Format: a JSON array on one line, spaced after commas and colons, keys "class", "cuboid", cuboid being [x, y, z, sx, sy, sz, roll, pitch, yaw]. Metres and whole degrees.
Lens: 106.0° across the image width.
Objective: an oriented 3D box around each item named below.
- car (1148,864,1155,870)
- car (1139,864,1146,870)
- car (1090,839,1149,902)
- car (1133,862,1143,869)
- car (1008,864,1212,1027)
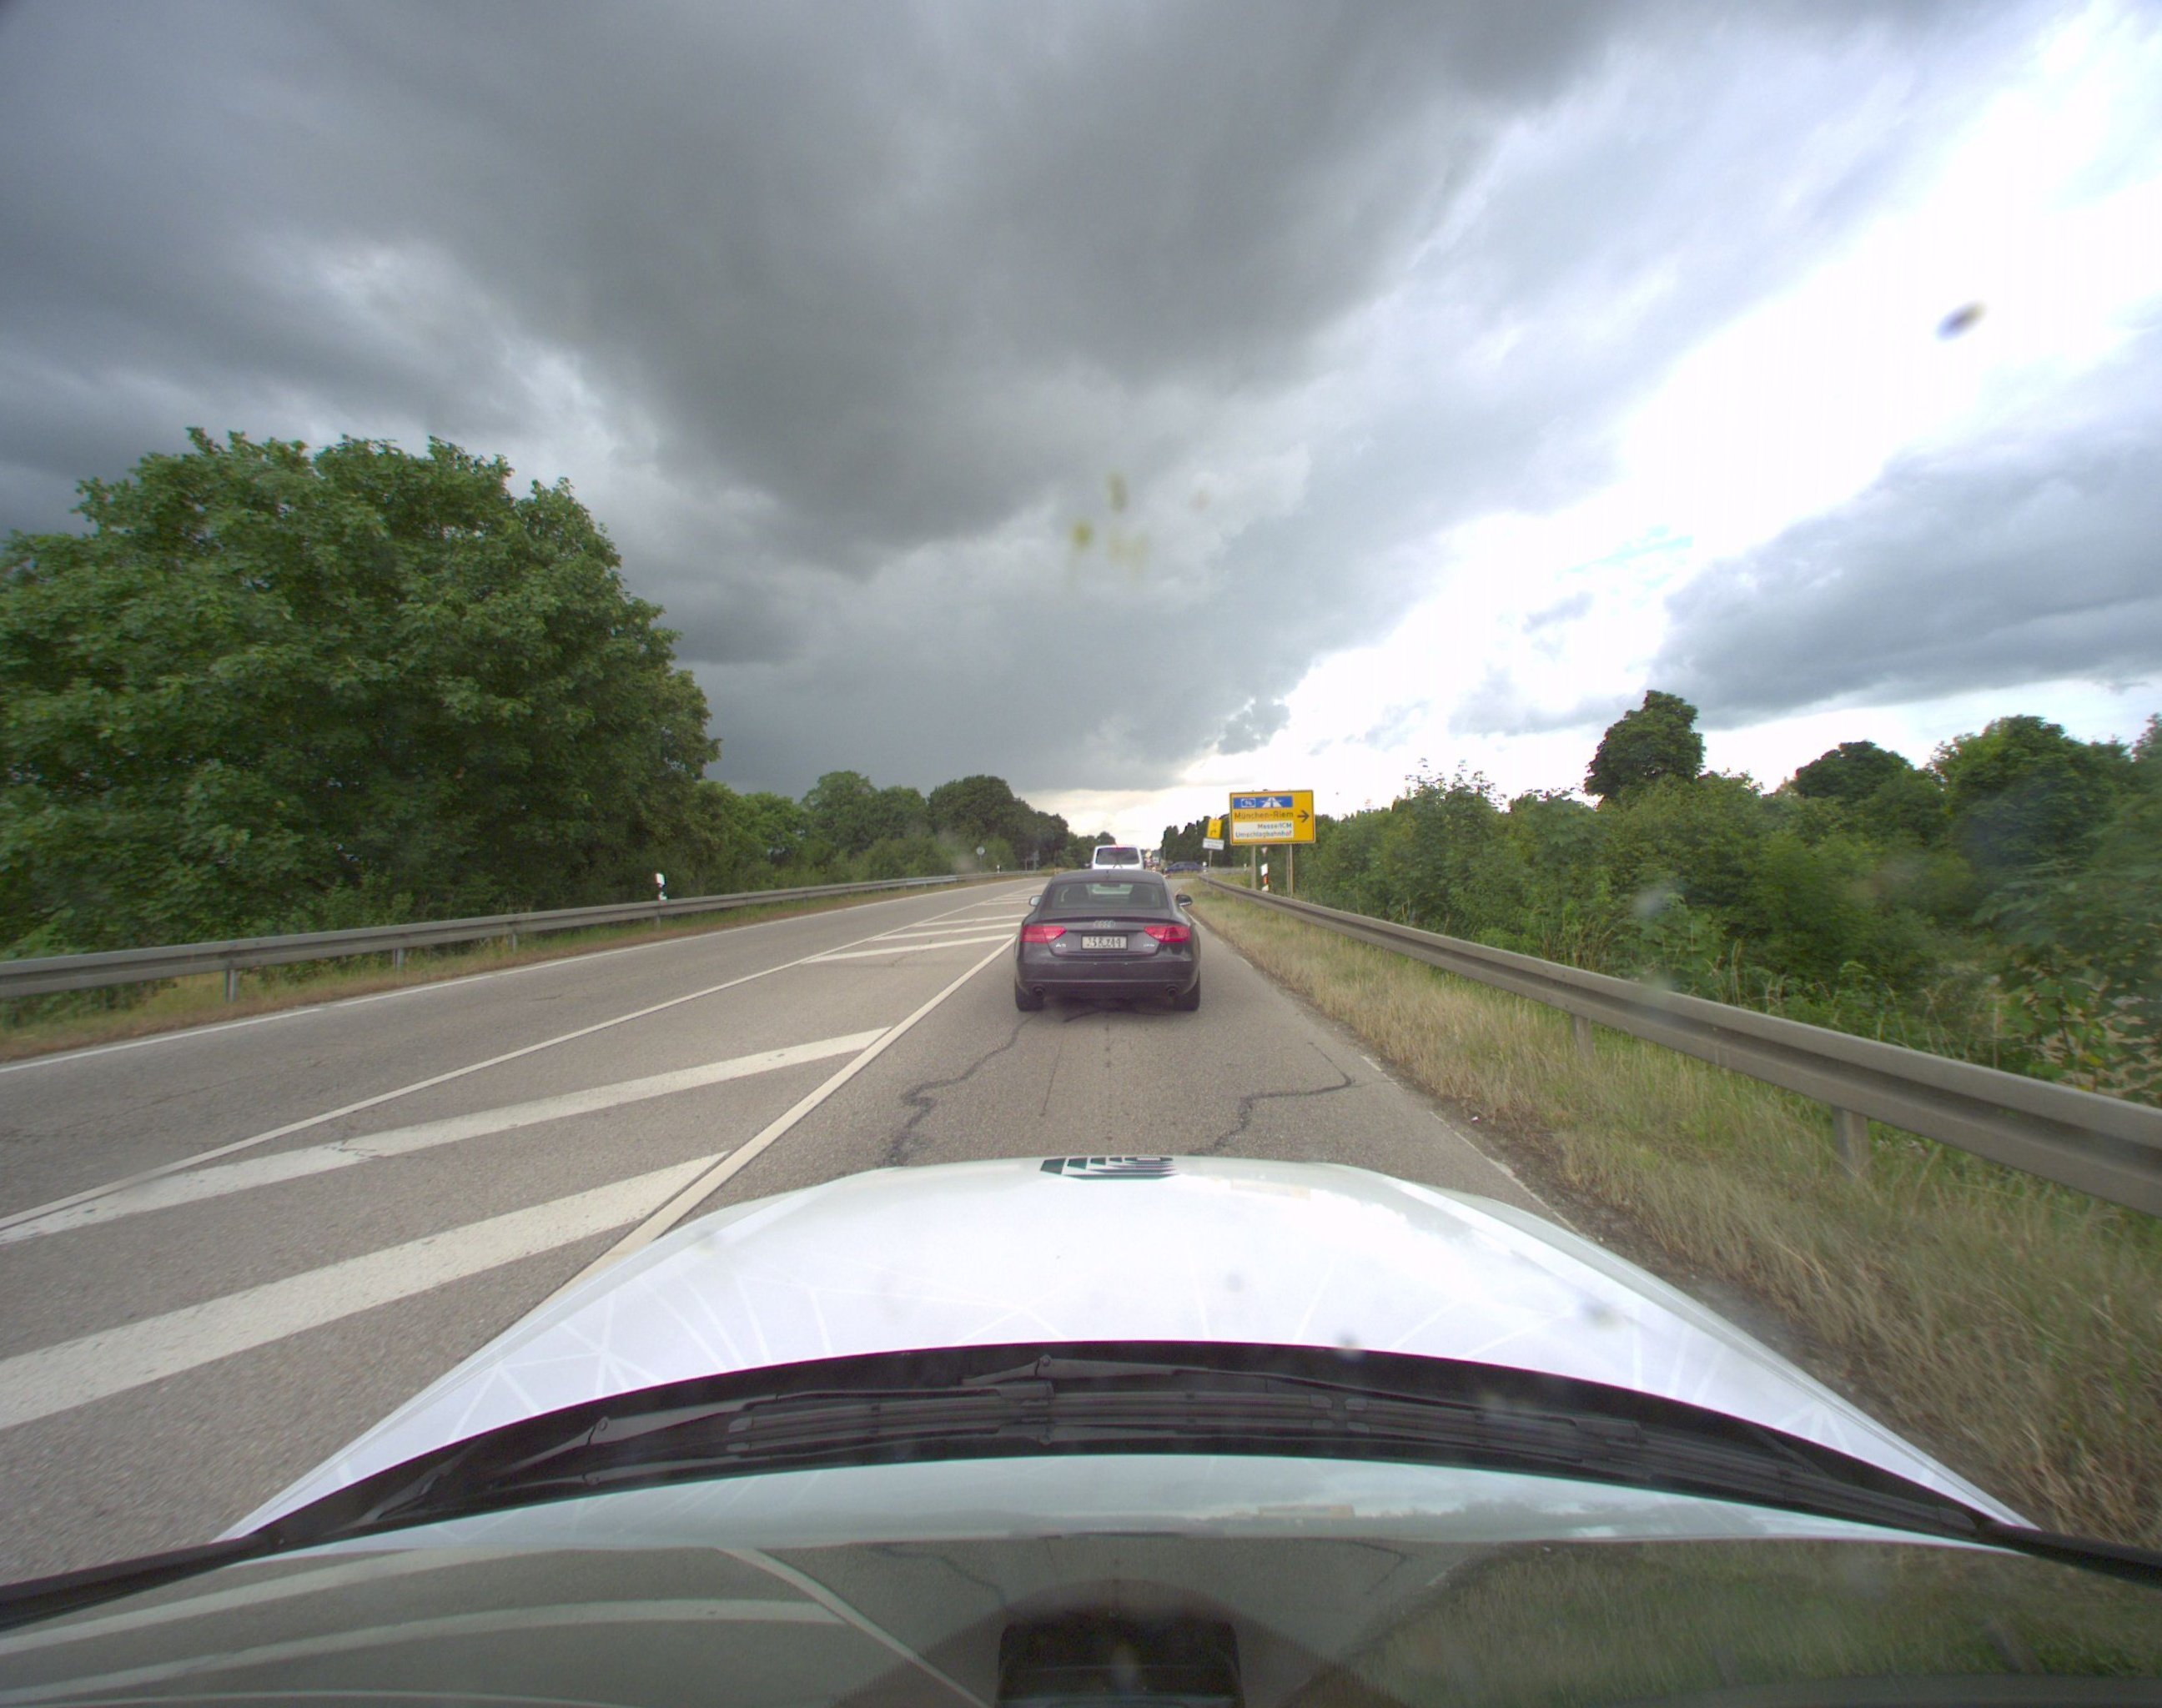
[{"class": "car", "cuboid": [22.118, 4.034, 254.727, 1.984, 1.692, 4.005, 0, 0, 5]}, {"class": "car", "cuboid": [16.344, 3.497, 216.168, 1.728, 1.454, 4.001, 0, 0, 1]}, {"class": "car", "cuboid": [1.315, 0.546, 28.501, 1.903, 2.014, 4.002, 0, 0, 2]}, {"class": "car", "cuboid": [13.857, 2.756, 197.053, 2.197, 1.582, 4.381, 0, 0, 2]}, {"class": "car", "cuboid": [0.305, 0.826, 8.841, 1.773, 1.399, 3.337, -1, -1, 2]}]
